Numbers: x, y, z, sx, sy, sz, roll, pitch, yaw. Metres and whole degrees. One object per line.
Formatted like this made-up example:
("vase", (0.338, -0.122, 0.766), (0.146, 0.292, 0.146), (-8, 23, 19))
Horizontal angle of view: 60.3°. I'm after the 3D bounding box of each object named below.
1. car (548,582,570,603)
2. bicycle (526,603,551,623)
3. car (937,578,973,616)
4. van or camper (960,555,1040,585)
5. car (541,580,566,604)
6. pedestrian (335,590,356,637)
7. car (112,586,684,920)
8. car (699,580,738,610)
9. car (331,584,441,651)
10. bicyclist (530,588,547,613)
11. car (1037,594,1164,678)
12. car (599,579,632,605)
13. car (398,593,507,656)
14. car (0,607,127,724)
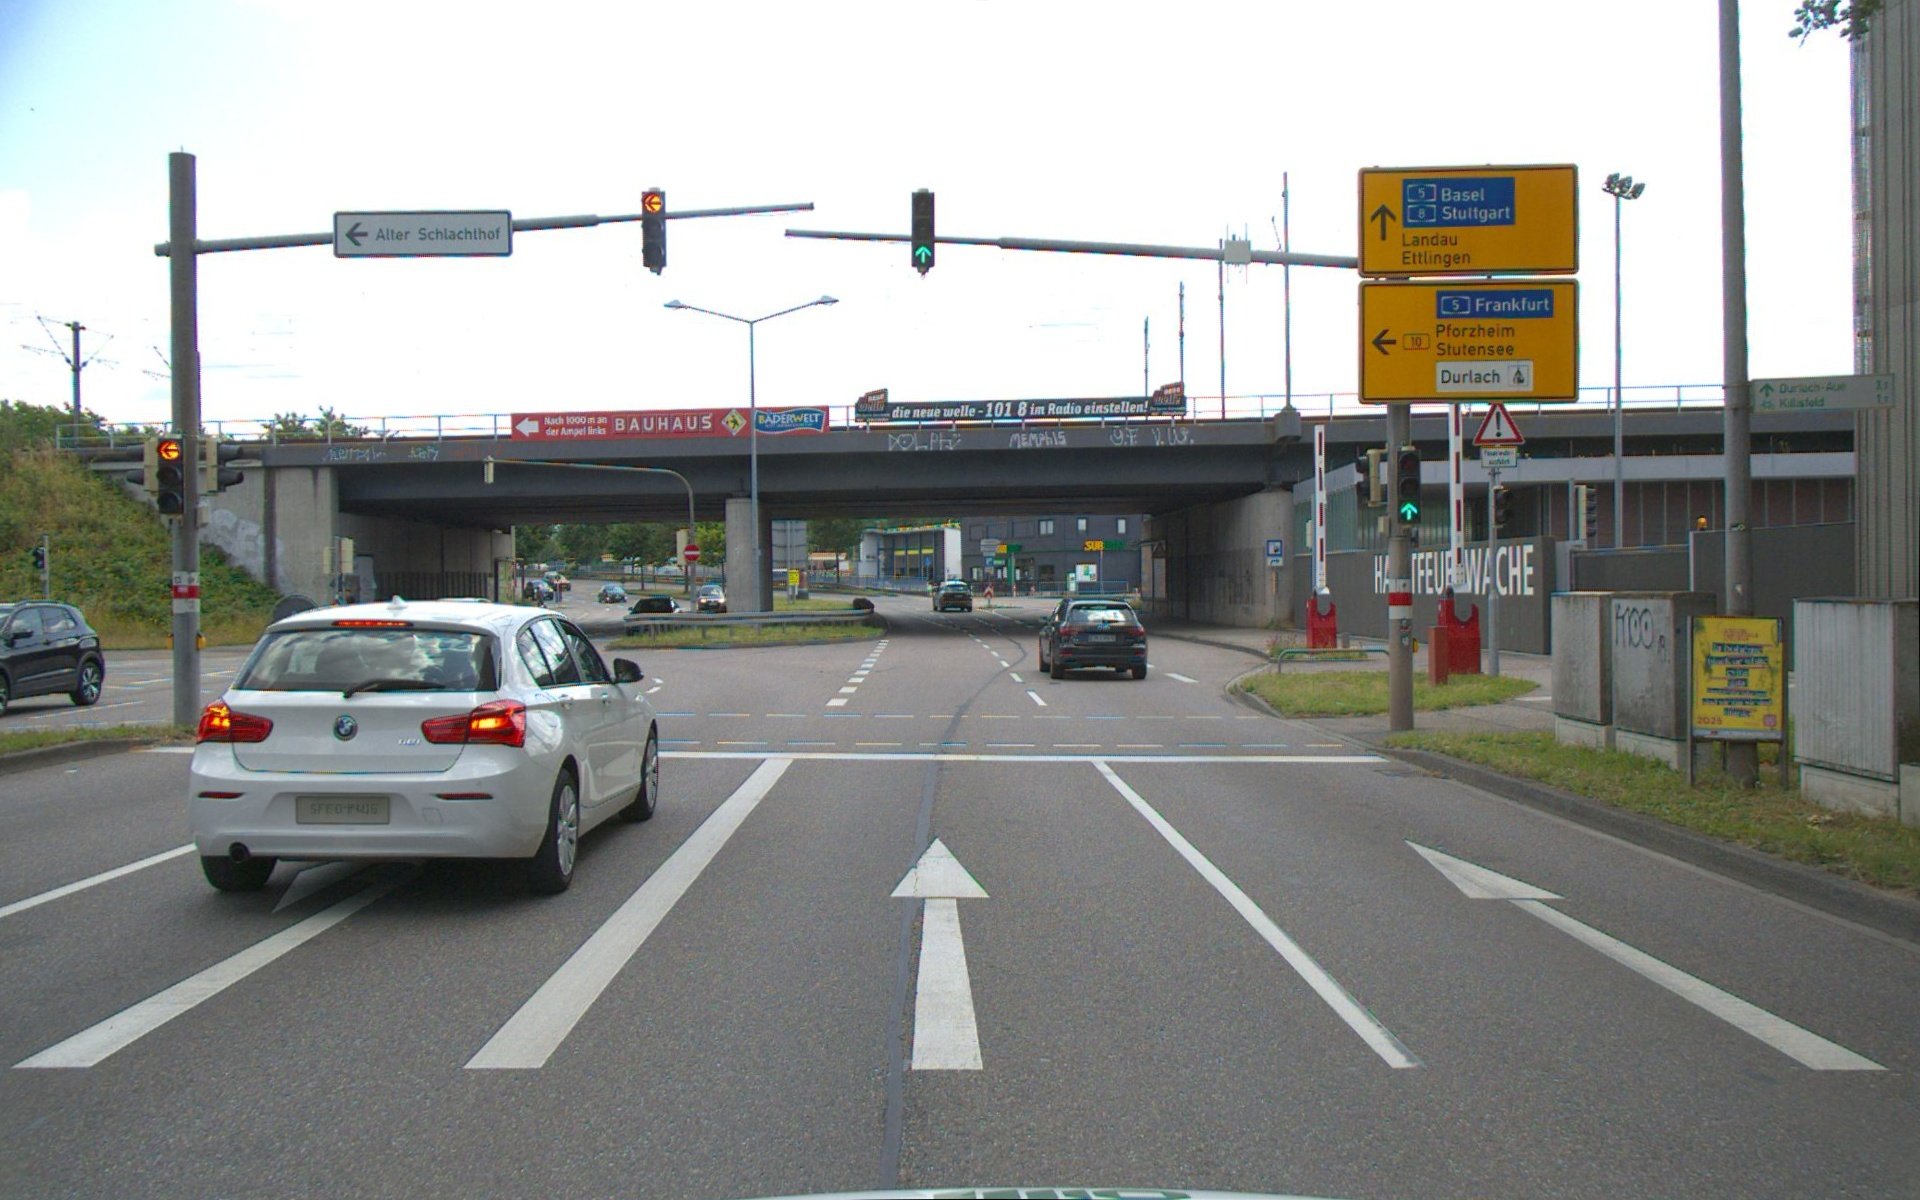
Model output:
("car", (-39.557, -0.766, 163.220), (1.959, 2.049, 4.323), (-1, 1, -13))
("bicycle", (-24.613, 0.765, 96.586), (0.666, 1.162, 2.285), (0, 0, 6))
("car", (-0.311, -0.191, 93.433), (1.953, 2.073, 4.712), (-1, 0, -1))
("van or camper", (3.059, -2.239, 125.596), (6.185, 2.211, 2.097), (0, 0, -39))
("car", (-35.934, -0.742, 146.119), (1.961, 2.049, 4.318), (-1, 1, -16))
("pedestrian", (-22.628, 0.476, 60.911), (0.579, 1.710, 0.555), (-1, 0, -4))
("car", (-2.875, 0.671, 9.564), (1.876, 1.439, 4.294), (2, 0, -1))
("car", (-15.050, -0.315, 103.194), (1.954, 1.789, 4.714), (-1, 0, -3))
("car", (-18.433, 0.527, 53.289), (1.952, 2.049, 4.002), (-1, 0, 3))
("bicyclist", (-24.617, 0.025, 96.524), (0.667, 1.432, 0.925), (0, 0, 6))
("car", (2.591, 0.623, 31.544), (1.953, 1.414, 4.575), (0, 1, -1))
("car", (-28.377, -0.697, 136.491), (1.954, 2.049, 4.335), (-1, 1, -3))
("car", (-14.358, 0.666, 47.033), (1.769, 1.660, 4.391), (-1, 0, -1))
("car", (-13.915, 0.906, 23.623), (1.886, 1.556, 4.001), (-1, 0, 2))
